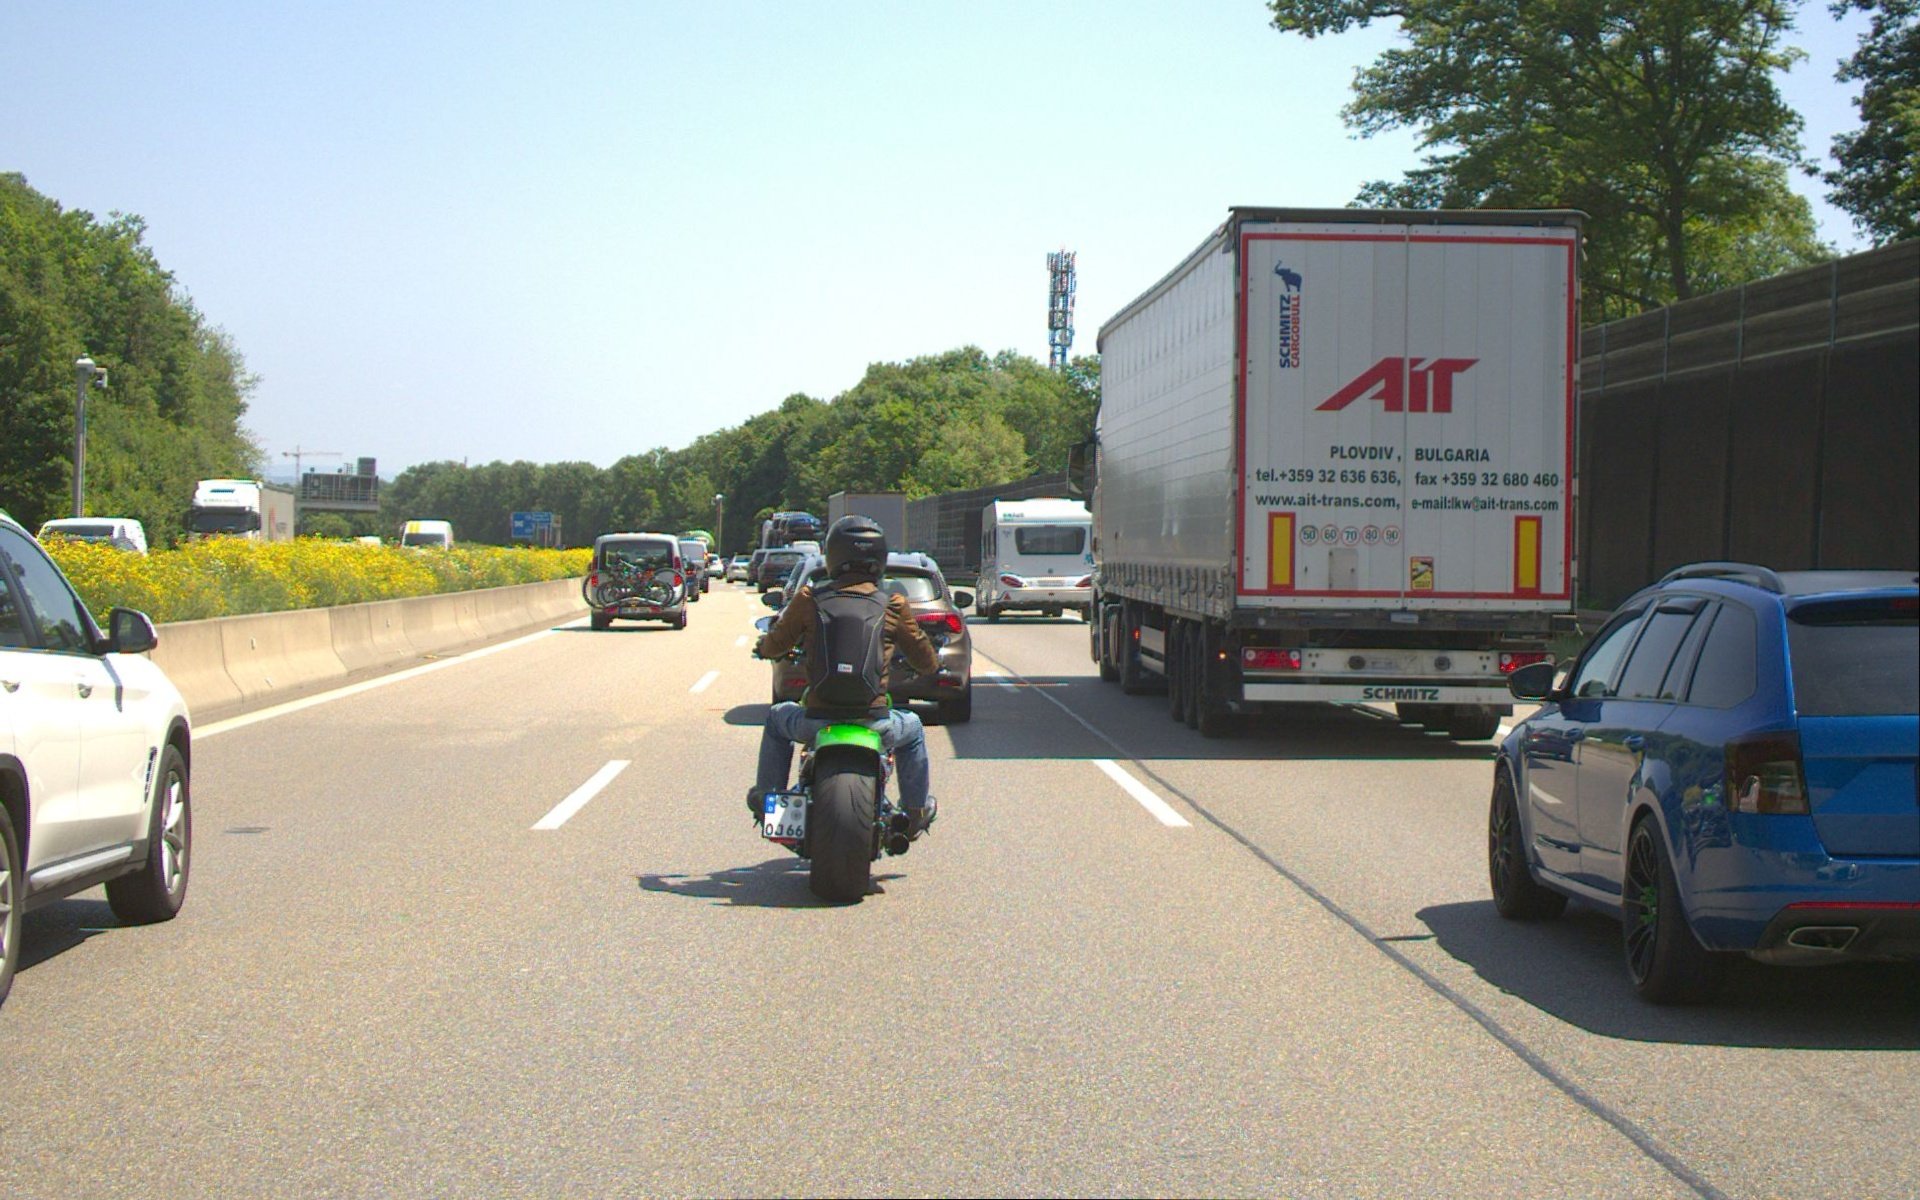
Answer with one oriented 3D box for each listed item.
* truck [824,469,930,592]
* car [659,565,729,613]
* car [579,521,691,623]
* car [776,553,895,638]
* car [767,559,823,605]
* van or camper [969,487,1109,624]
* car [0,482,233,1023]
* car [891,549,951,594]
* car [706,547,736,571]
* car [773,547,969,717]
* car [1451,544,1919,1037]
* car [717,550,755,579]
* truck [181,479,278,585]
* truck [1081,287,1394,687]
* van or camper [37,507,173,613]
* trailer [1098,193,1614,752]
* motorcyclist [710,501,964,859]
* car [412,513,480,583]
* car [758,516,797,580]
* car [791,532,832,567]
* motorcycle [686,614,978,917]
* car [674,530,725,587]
[{"bbox_3d":[-3.541,-2.835,144.130,3.802,4.943,8.952,0,0,-5],"label":"truck"},{"bbox_3d":[-7.978,-0.319,103.425,1.993,1.382,4.000,0,0,-3],"label":"car"},{"bbox_3d":[-6.201,-0.511,65.974,1.899,1.867,4.413,0,0,-3],"label":"car"},{"bbox_3d":[-2.191,-0.068,59.853,1.993,1.425,3.847,0,0,-3],"label":"car"},{"bbox_3d":[-5.978,-0.641,124.452,1.993,1.634,4.000,0,0,-3],"label":"car"},{"bbox_3d":[1.640,-0.907,74.219,2.685,2.803,6.803,0,0,-1],"label":"van or camper"},{"bbox_3d":[-3.975,0.453,12.248,1.864,1.688,4.956,0,1,-2],"label":"car"},{"bbox_3d":[-1.449,-1.013,125.194,1.993,1.569,4.000,0,0,-3],"label":"car"},{"bbox_3d":[-15.303,-2.610,220.203,1.832,1.491,3.744,0,0,-5],"label":"car"},{"bbox_3d":[-0.818,0.281,31.284,1.662,1.448,3.869,0,0,-2],"label":"car"},{"bbox_3d":[3.015,0.582,12.572,1.650,1.477,4.482,0,0,-2],"label":"car"},{"bbox_3d":[-11.675,-1.844,179.402,1.832,1.491,3.744,0,0,-2],"label":"car"},{"bbox_3d":[-29.150,-2.673,137.437,2.963,4.093,6.089,0,0,-4],"label":"truck"},{"bbox_3d":[2.983,-1.211,38.651,2.885,4.132,5.986,0,1,-1],"label":"truck"},{"bbox_3d":[-16.751,-0.792,67.543,1.692,2.005,4.213,0,1,-1],"label":"van or camper"},{"bbox_3d":[3.145,-1.018,31.778,2.885,4.025,13.796,0,1,-1],"label":"trailer"},{"bbox_3d":[-0.509,0.333,15.114,0.900,1.470,1.872,0,0,5],"label":"motorcyclist"},{"bbox_3d":[-21.811,-2.227,146.099,2.068,2.886,7.463,0,1,-3],"label":"car"},{"bbox_3d":[-11.406,-3.260,214.357,2.133,3.848,8.144,1,1,-5],"label":"car"},{"bbox_3d":[-8.395,-2.854,194.565,2.107,1.870,4.001,0,0,-6],"label":"car"},{"bbox_3d":[-0.509,0.669,15.214,0.965,1.144,2.811,1,1,4],"label":"motorcycle"},{"bbox_3d":[-9.431,-1.504,124.801,1.791,2.007,3.642,0,0,-4],"label":"car"}]
